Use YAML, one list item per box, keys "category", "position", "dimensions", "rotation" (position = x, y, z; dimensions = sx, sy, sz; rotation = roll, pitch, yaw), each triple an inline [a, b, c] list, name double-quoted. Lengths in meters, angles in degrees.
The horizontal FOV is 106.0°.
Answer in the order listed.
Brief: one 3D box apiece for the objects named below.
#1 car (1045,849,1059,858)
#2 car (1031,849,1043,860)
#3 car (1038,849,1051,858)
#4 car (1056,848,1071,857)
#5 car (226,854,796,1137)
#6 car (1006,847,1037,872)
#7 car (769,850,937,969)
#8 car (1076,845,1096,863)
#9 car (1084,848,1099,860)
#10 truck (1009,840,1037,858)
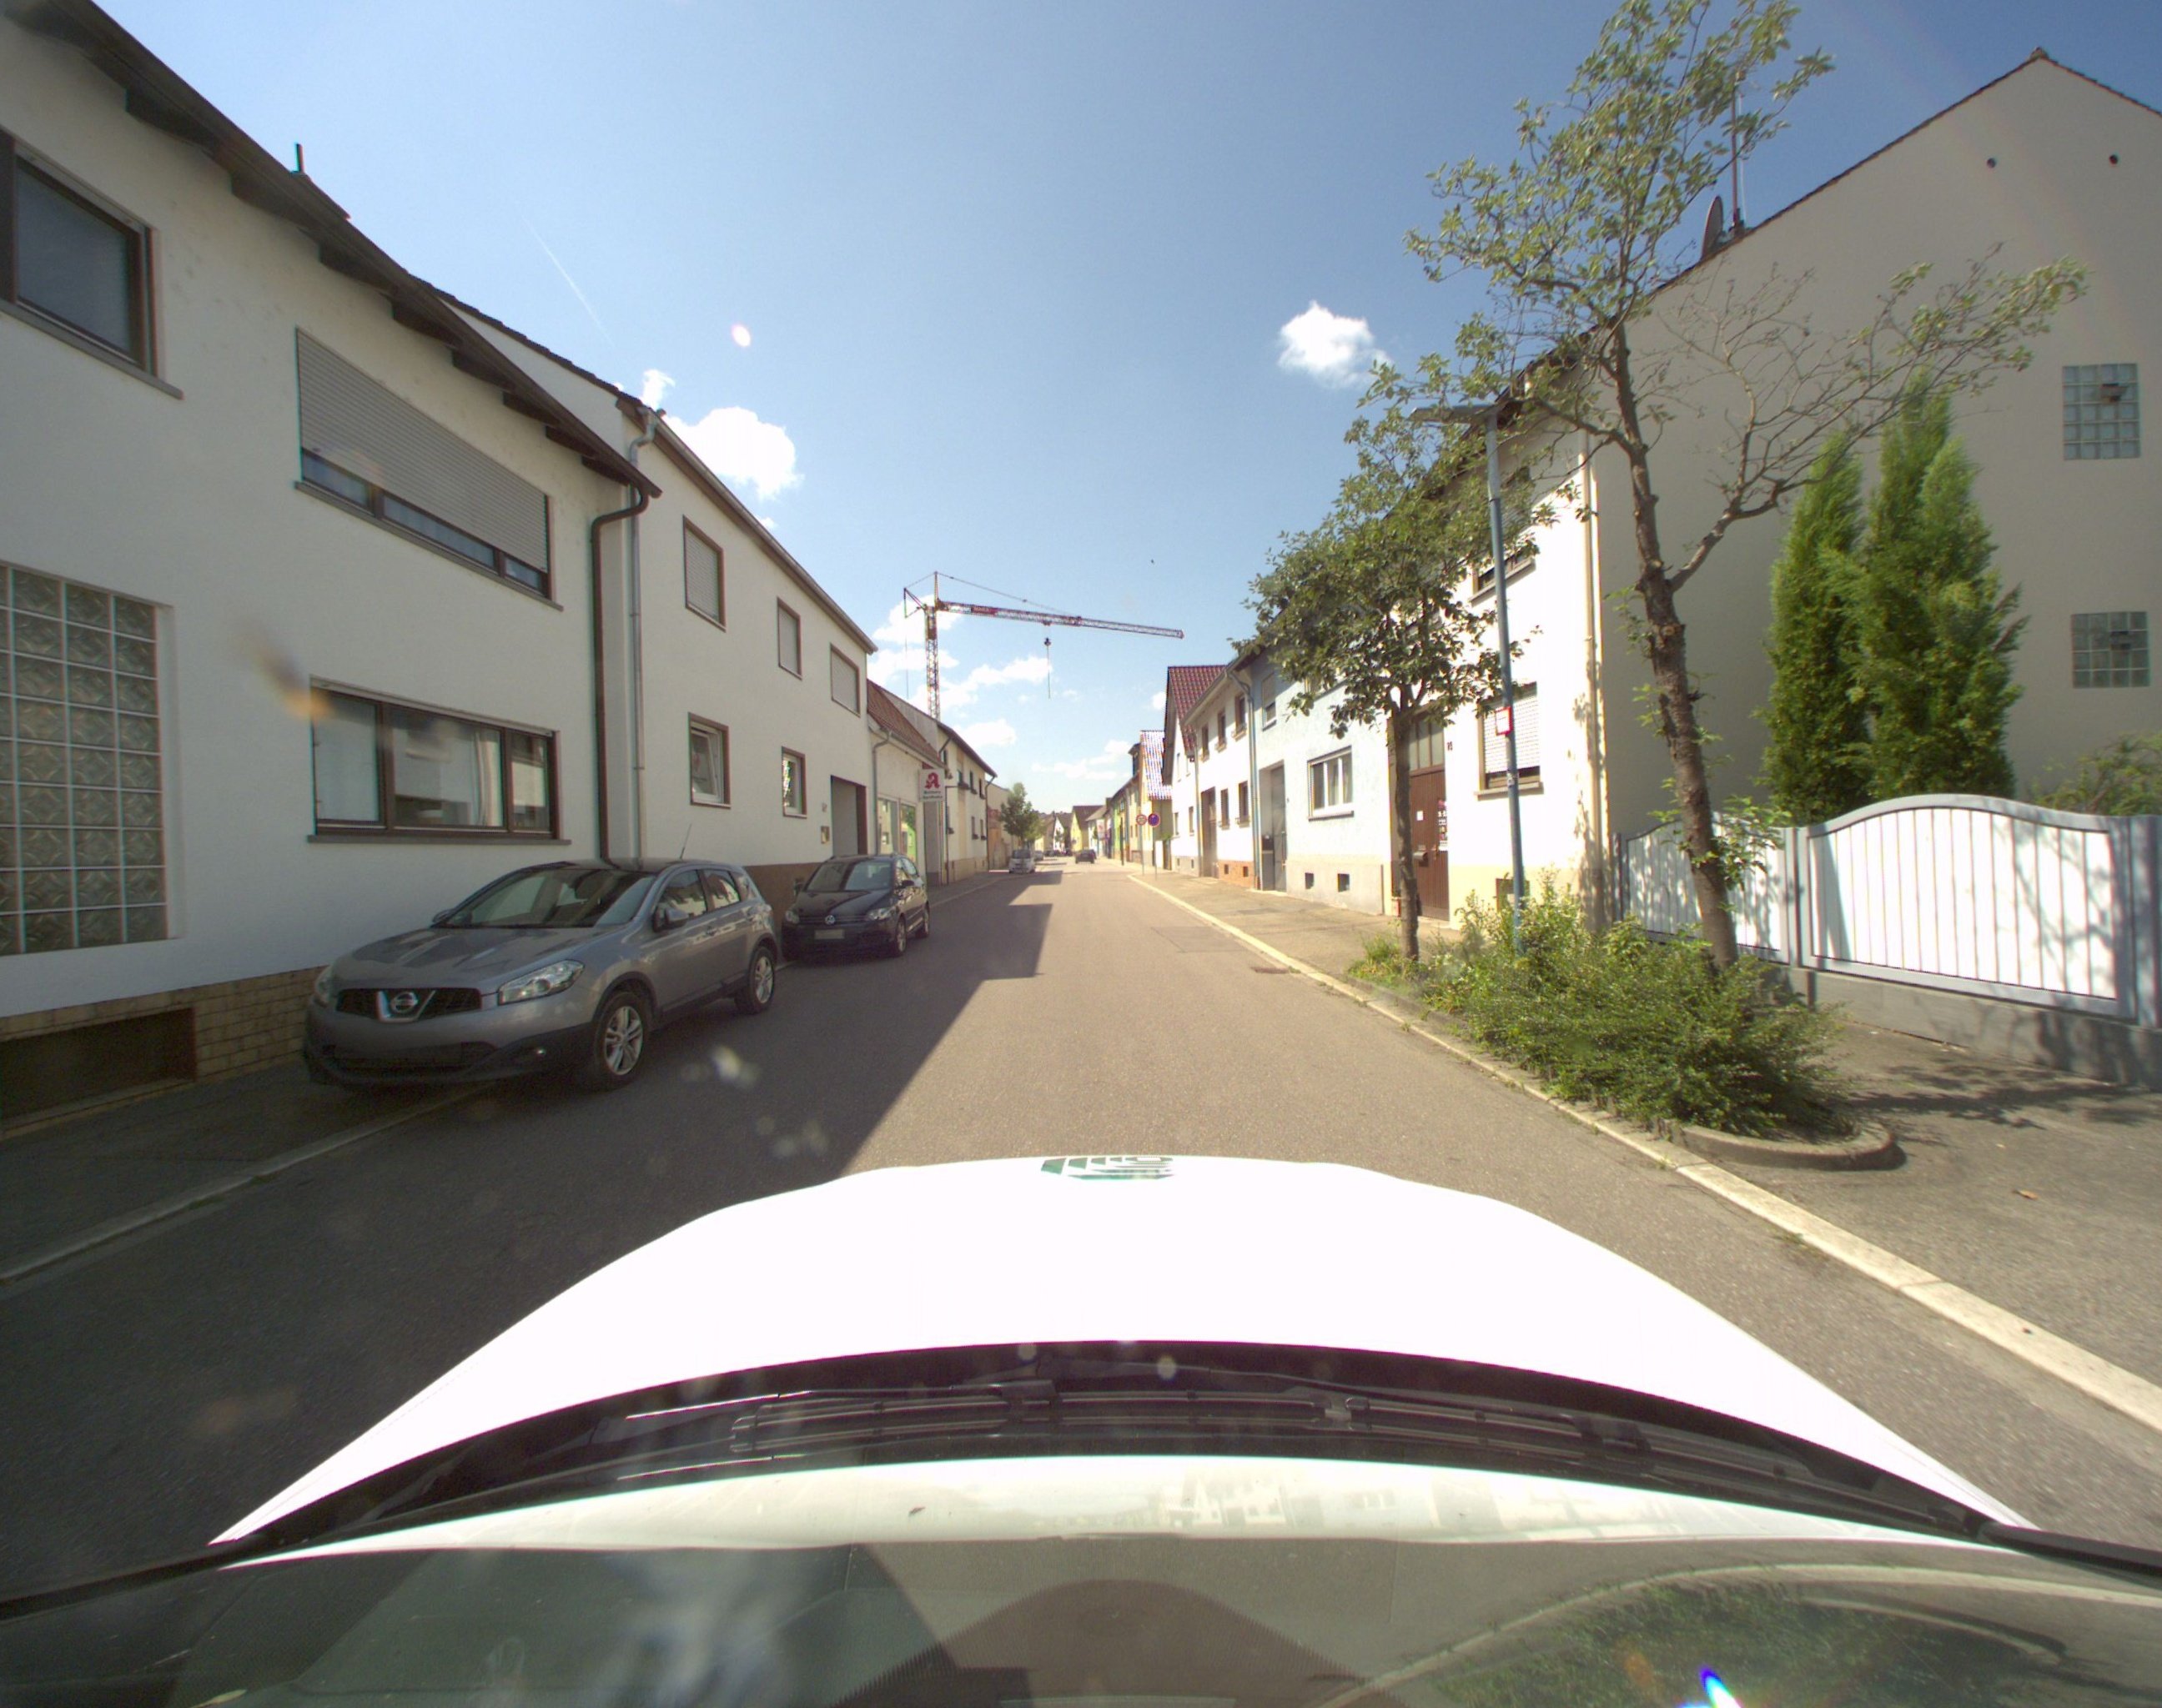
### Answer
- category: "car"
  position: [-6.002, -0.069, 169.155]
  dimensions: [1.825, 1.753, 4.205]
  rotation: [-2, 0, -16]
- category: "car"
  position: [-6.596, 0.074, 121.671]
  dimensions: [1.731, 1.686, 4.225]
  rotation: [0, 0, -4]
- category: "car"
  position: [-7.939, -0.056, 176.648]
  dimensions: [1.823, 1.753, 4.209]
  rotation: [-2, 0, -13]
- category: "car"
  position: [-3.437, -0.309, 159.627]
  dimensions: [1.787, 1.753, 4.204]
  rotation: [-2, 0, -17]
- category: "car"
  position: [-4.015, 0.811, 6.825]
  dimensions: [1.753, 1.525, 4.287]
  rotation: [-2, 0, -1]
- category: "car"
  position: [-3.809, 0.318, 52.563]
  dimensions: [1.717, 1.555, 4.172]
  rotation: [0, 0, 0]
- category: "car"
  position: [-3.549, 0.764, 13.435]
  dimensions: [1.648, 1.608, 4.059]
  rotation: [-2, 0, -1]
- category: "car"
  position: [0.475, 0.005, 83.174]
  dimensions: [1.778, 1.753, 3.997]
  rotation: [-2, 0, -2]
- category: "car"
  position: [1.416, -0.052, 112.820]
  dimensions: [1.778, 1.564, 4.333]
  rotation: [-2, 0, -3]
- category: "truck"
  position: [-13.174, -1.054, 183.390]
  dimensions: [3.387, 3.865, 13.845]
  rotation: [-2, 0, -17]
